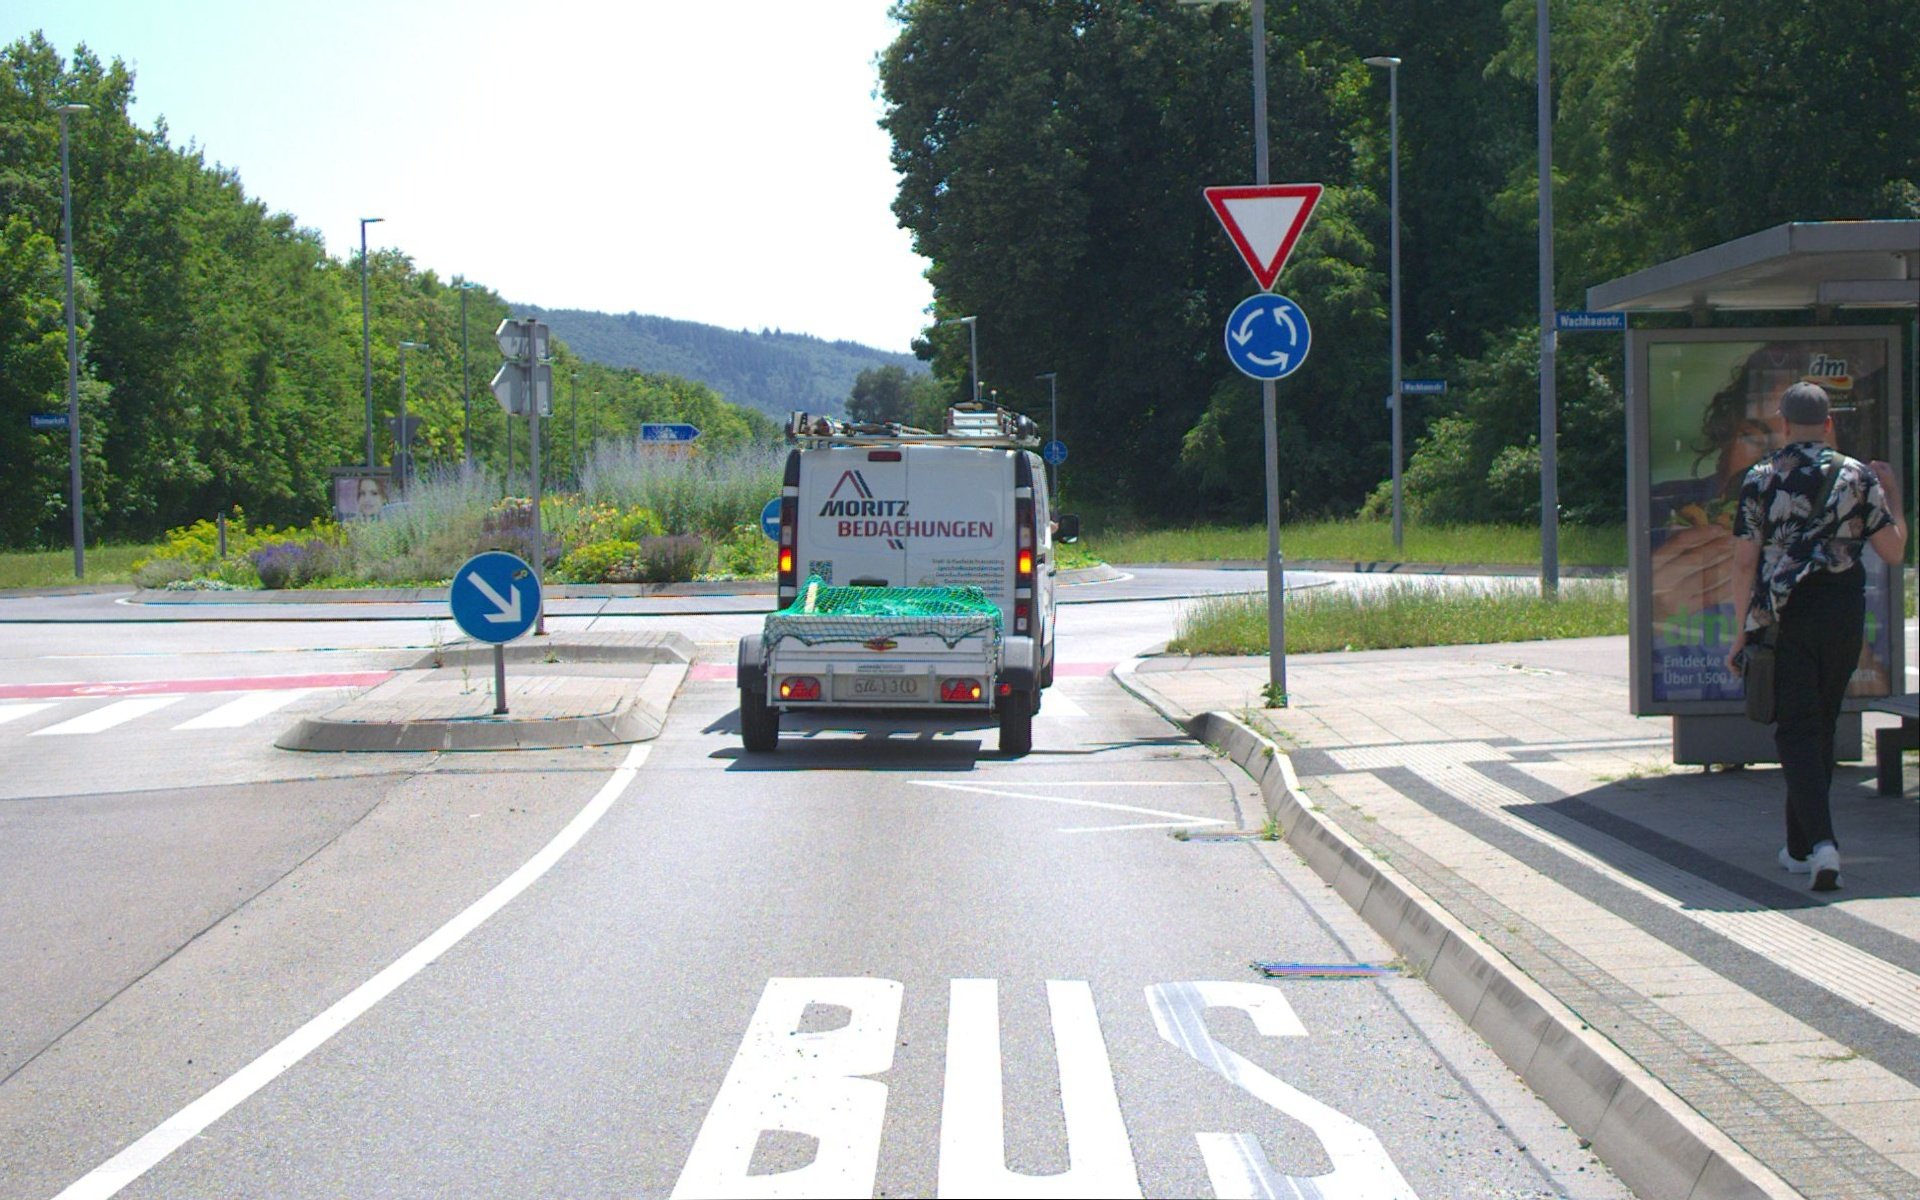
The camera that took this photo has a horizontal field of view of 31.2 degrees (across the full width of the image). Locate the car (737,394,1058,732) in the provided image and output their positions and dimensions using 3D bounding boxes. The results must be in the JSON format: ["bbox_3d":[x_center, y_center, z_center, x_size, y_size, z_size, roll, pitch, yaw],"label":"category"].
[{"bbox_3d":[-0.360,-0.315,26.040,2.166,2.308,4.981,0,1,2],"label":"car"}]

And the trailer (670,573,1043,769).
[{"bbox_3d":[-0.570,0.403,21.924,2.121,1.093,3.354,0,1,3],"label":"trailer"}]

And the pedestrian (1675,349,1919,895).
[{"bbox_3d":[2.993,0.064,12.039,0.708,1.816,0.826,-3,1,-1],"label":"pedestrian"}]
